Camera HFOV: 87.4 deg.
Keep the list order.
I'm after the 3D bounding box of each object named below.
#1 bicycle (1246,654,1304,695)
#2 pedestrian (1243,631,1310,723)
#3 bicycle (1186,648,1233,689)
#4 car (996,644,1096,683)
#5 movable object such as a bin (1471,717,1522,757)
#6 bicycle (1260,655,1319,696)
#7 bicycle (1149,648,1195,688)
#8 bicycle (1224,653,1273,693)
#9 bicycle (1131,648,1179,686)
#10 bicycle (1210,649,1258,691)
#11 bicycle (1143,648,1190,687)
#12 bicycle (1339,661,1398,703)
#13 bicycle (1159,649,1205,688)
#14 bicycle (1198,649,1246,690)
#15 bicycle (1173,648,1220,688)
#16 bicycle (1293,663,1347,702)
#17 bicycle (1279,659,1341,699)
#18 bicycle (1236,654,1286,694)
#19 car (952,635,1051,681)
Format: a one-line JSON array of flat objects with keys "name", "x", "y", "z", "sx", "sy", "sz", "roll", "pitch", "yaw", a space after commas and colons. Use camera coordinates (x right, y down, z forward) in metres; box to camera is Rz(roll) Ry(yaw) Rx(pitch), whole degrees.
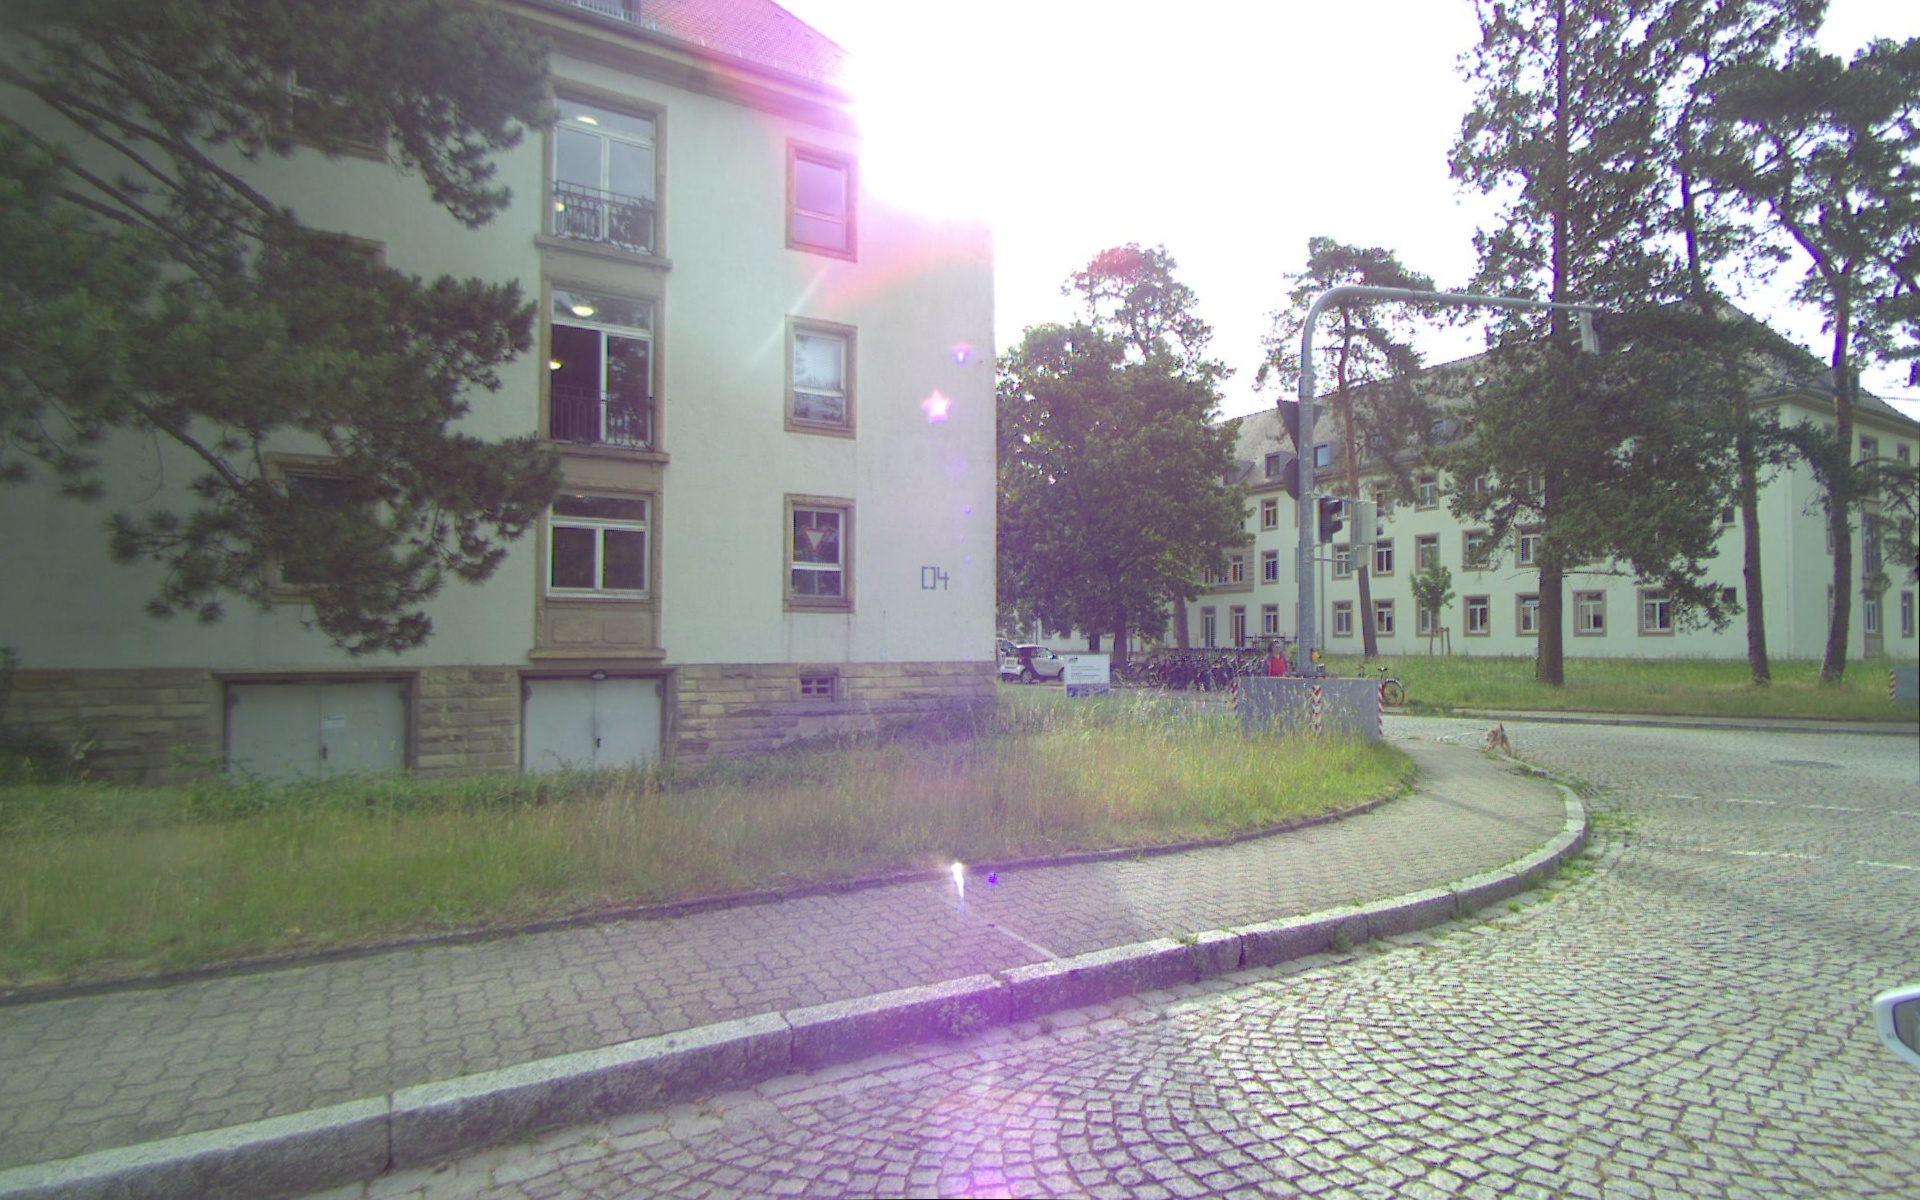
[{"name": "bicycle", "x": 9.474, "y": 2.223, "z": 30.185, "sx": 1.909, "sy": 1.193, "sz": 0.525, "roll": 2, "pitch": -3, "yaw": -32}, {"name": "pedestrian", "x": 5.959, "y": 1.436, "z": 18.975, "sx": 0.922, "sy": 1.690, "sz": 0.861, "roll": 0, "pitch": -2, "yaw": -7}, {"name": "bicycle", "x": 8.078, "y": 2.208, "z": 32.526, "sx": 1.677, "sy": 1.300, "sz": 0.447, "roll": 2, "pitch": -3, "yaw": -32}, {"name": "car", "x": 3.619, "y": 2.651, "z": 42.255, "sx": 3.851, "sy": 1.576, "sz": 1.831, "roll": 2, "pitch": -3, "yaw": -30}, {"name": "movable object such as a bin", "x": 7.849, "y": 1.992, "z": 14.695, "sx": 0.747, "sy": 0.510, "sz": 0.439, "roll": 2, "pitch": -3, "yaw": -43}, {"name": "bicycle", "x": 9.740, "y": 2.214, "z": 29.664, "sx": 1.932, "sy": 1.193, "sz": 0.572, "roll": 2, "pitch": -3, "yaw": -32}, {"name": "bicycle", "x": 7.177, "y": 2.284, "z": 33.980, "sx": 1.677, "sy": 1.300, "sz": 0.447, "roll": 2, "pitch": -3, "yaw": -32}, {"name": "bicycle", "x": 8.915, "y": 2.235, "z": 31.011, "sx": 1.677, "sy": 1.193, "sz": 0.447, "roll": 2, "pitch": -3, "yaw": -32}, {"name": "bicycle", "x": 6.771, "y": 2.301, "z": 34.824, "sx": 1.807, "sy": 1.300, "sz": 0.447, "roll": 2, "pitch": -3, "yaw": -32}, {"name": "bicycle", "x": 8.653, "y": 2.196, "z": 31.685, "sx": 1.677, "sy": 1.300, "sz": 0.447, "roll": 2, "pitch": -3, "yaw": -32}, {"name": "bicycle", "x": 7.112, "y": 2.299, "z": 34.490, "sx": 1.765, "sy": 1.300, "sz": 0.440, "roll": 2, "pitch": -3, "yaw": -32}, {"name": "bicycle", "x": 10.441, "y": 2.089, "z": 25.710, "sx": 0.447, "sy": 1.009, "sz": 1.453, "roll": 1, "pitch": -3, "yaw": -28}, {"name": "bicycle", "x": 7.428, "y": 2.278, "z": 33.564, "sx": 1.677, "sy": 1.300, "sz": 0.447, "roll": 2, "pitch": -3, "yaw": -32}, {"name": "bicycle", "x": 8.369, "y": 2.202, "z": 32.102, "sx": 1.677, "sy": 1.300, "sz": 0.447, "roll": 2, "pitch": -3, "yaw": -32}, {"name": "bicycle", "x": 7.780, "y": 2.215, "z": 33.003, "sx": 1.677, "sy": 1.300, "sz": 0.447, "roll": 2, "pitch": -3, "yaw": -32}, {"name": "bicycle", "x": 9.667, "y": 2.204, "z": 27.020, "sx": 0.447, "sy": 1.009, "sz": 1.453, "roll": 1, "pitch": -3, "yaw": -28}, {"name": "bicycle", "x": 10.147, "y": 2.272, "z": 29.099, "sx": 1.974, "sy": 1.092, "sz": 0.572, "roll": 2, "pitch": -3, "yaw": -32}, {"name": "bicycle", "x": 9.173, "y": 2.241, "z": 30.600, "sx": 1.677, "sy": 1.193, "sz": 0.447, "roll": 2, "pitch": -3, "yaw": -32}, {"name": "car", "x": 1.836, "y": 2.557, "z": 44.464, "sx": 4.087, "sy": 1.932, "sz": 1.831, "roll": 2, "pitch": -3, "yaw": -30}]
